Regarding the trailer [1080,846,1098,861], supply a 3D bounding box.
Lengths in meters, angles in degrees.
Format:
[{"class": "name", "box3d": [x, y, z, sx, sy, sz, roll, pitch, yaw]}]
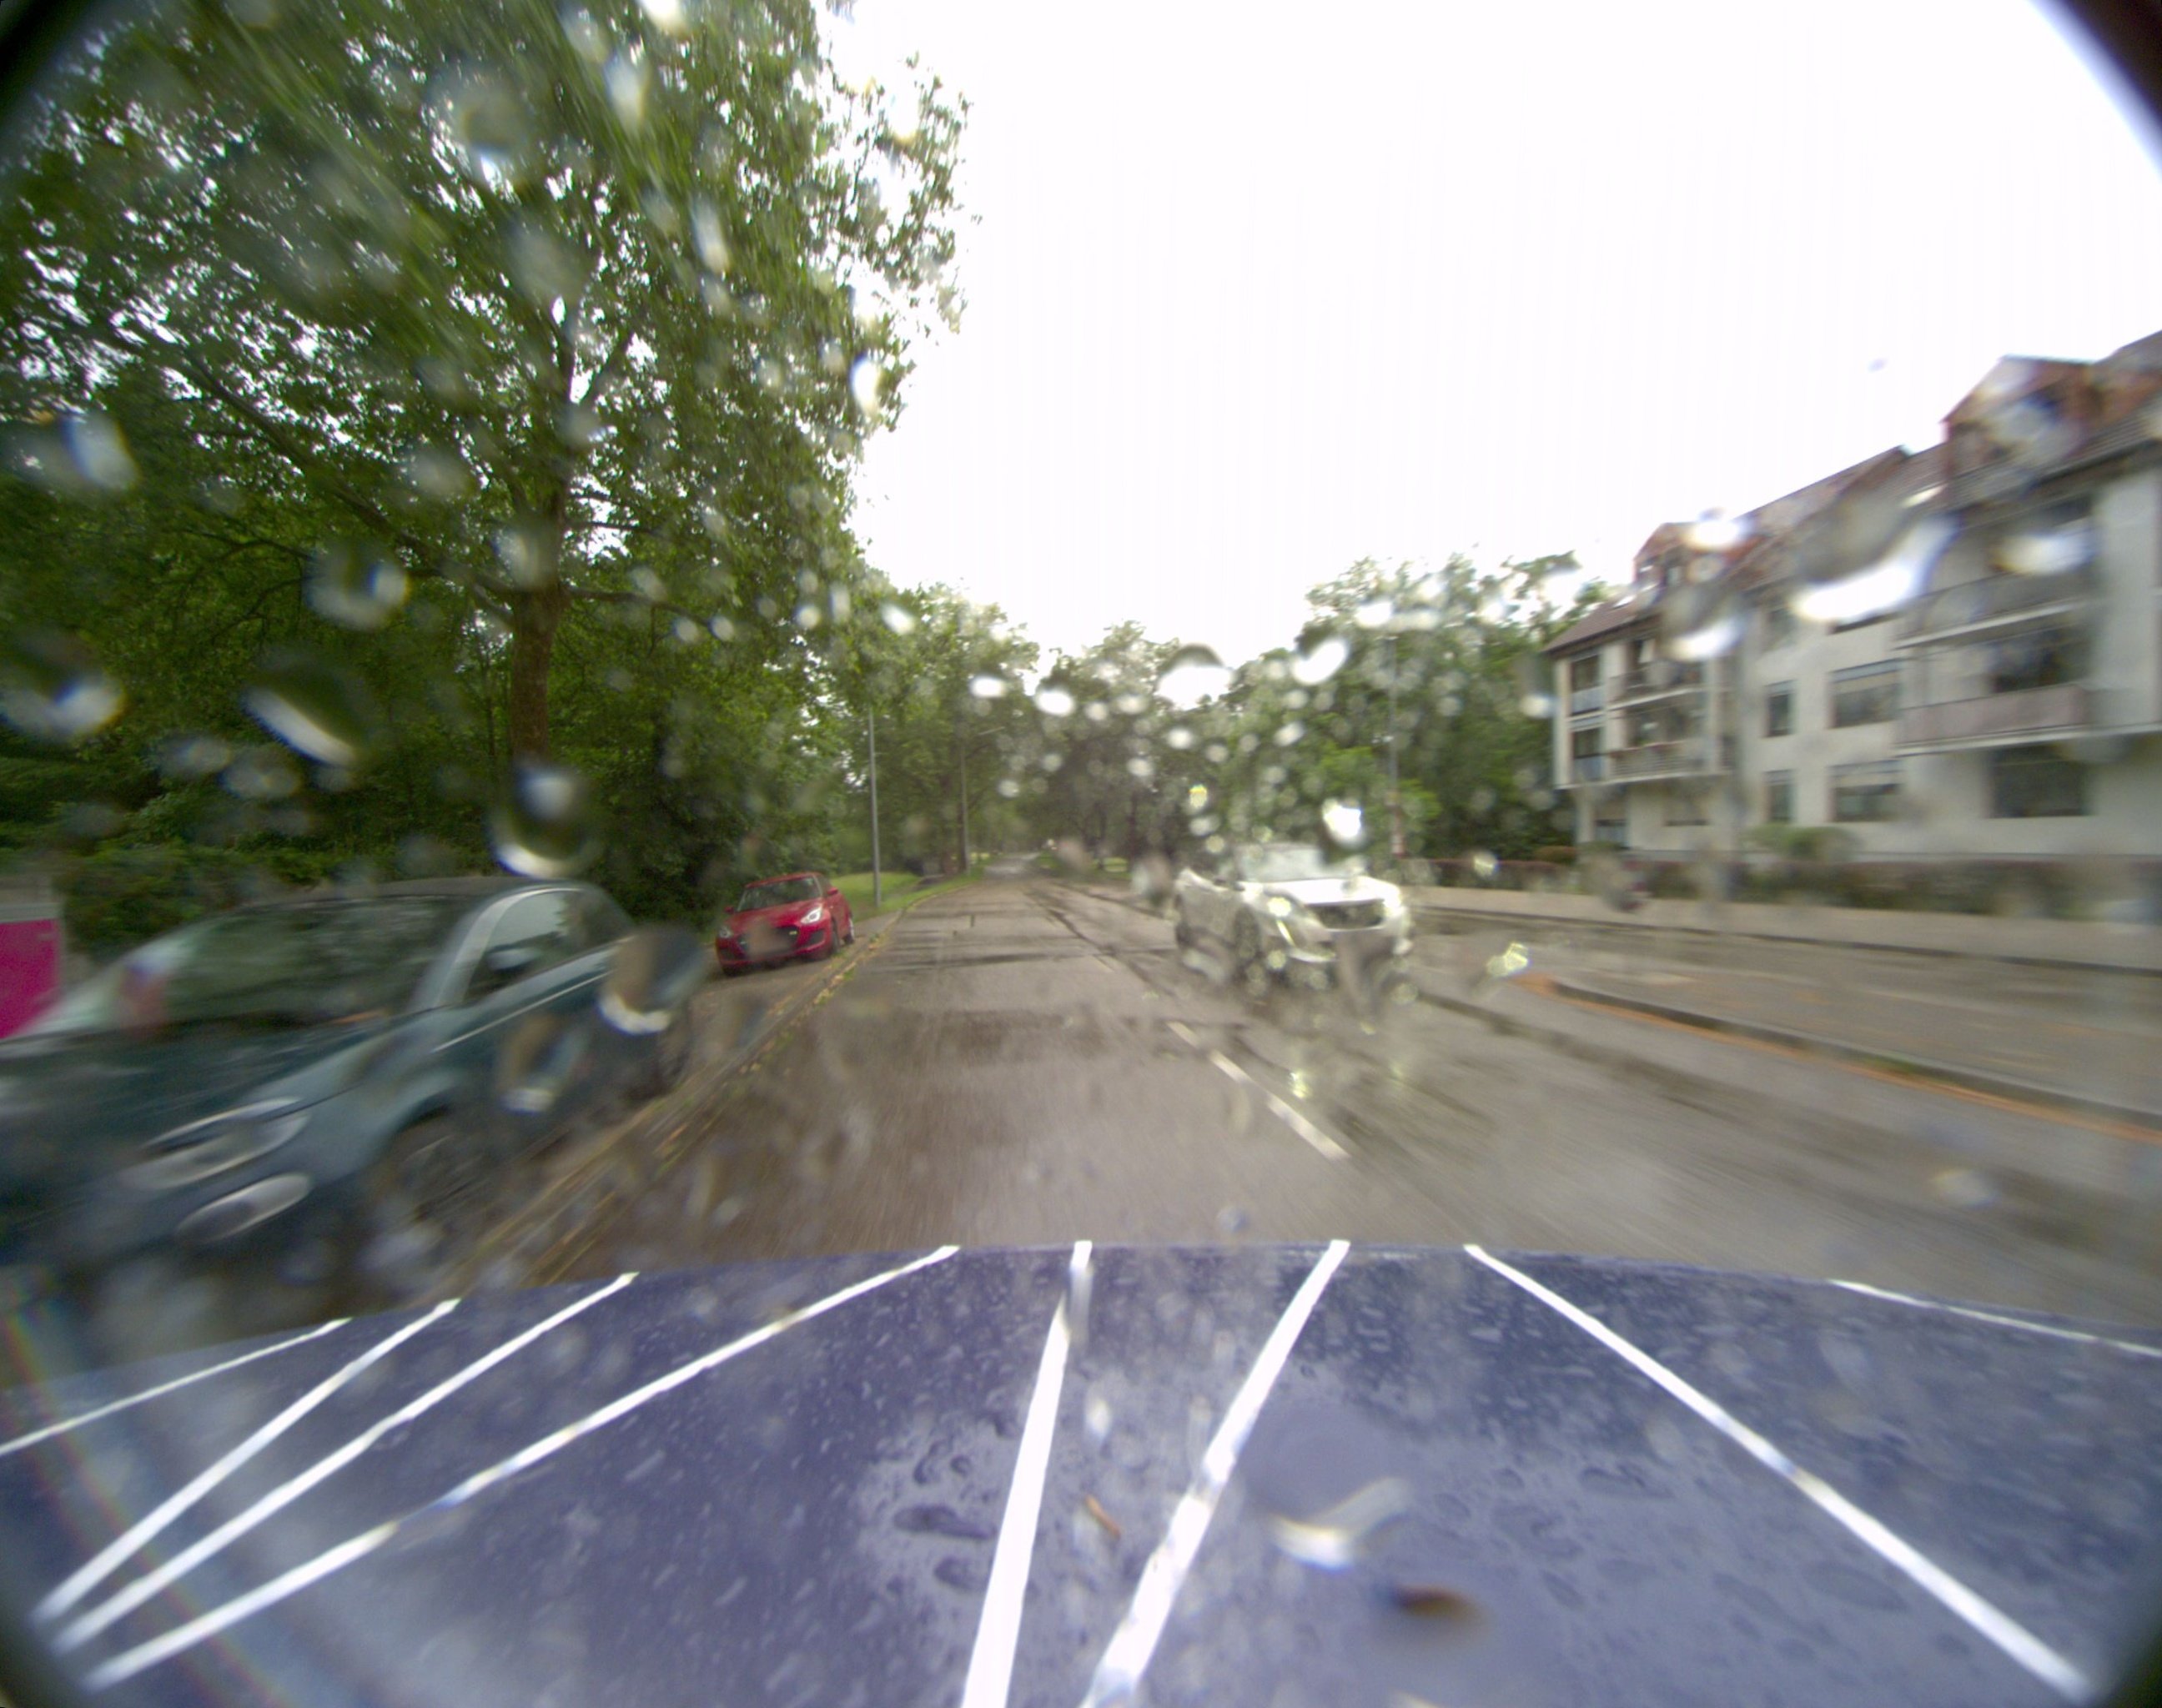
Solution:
[{"class": "trailer", "box3d": [1.477, -0.168, 140.576, 2.806, 2.649, 6.648, -1, 2, -3]}]

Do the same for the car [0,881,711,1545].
[{"class": "car", "box3d": [-3.377, 1.015, 3.619, 1.755, 1.483, 3.597, -5, 1, -8]}]

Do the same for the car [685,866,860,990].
[{"class": "car", "box3d": [-5.028, 1.121, 12.960, 1.825, 1.509, 3.740, -9, 0, -10]}]

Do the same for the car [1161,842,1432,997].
[{"class": "car", "box3d": [2.440, 0.646, 9.856, 1.758, 1.527, 4.364, -1, 0, -8]}]
